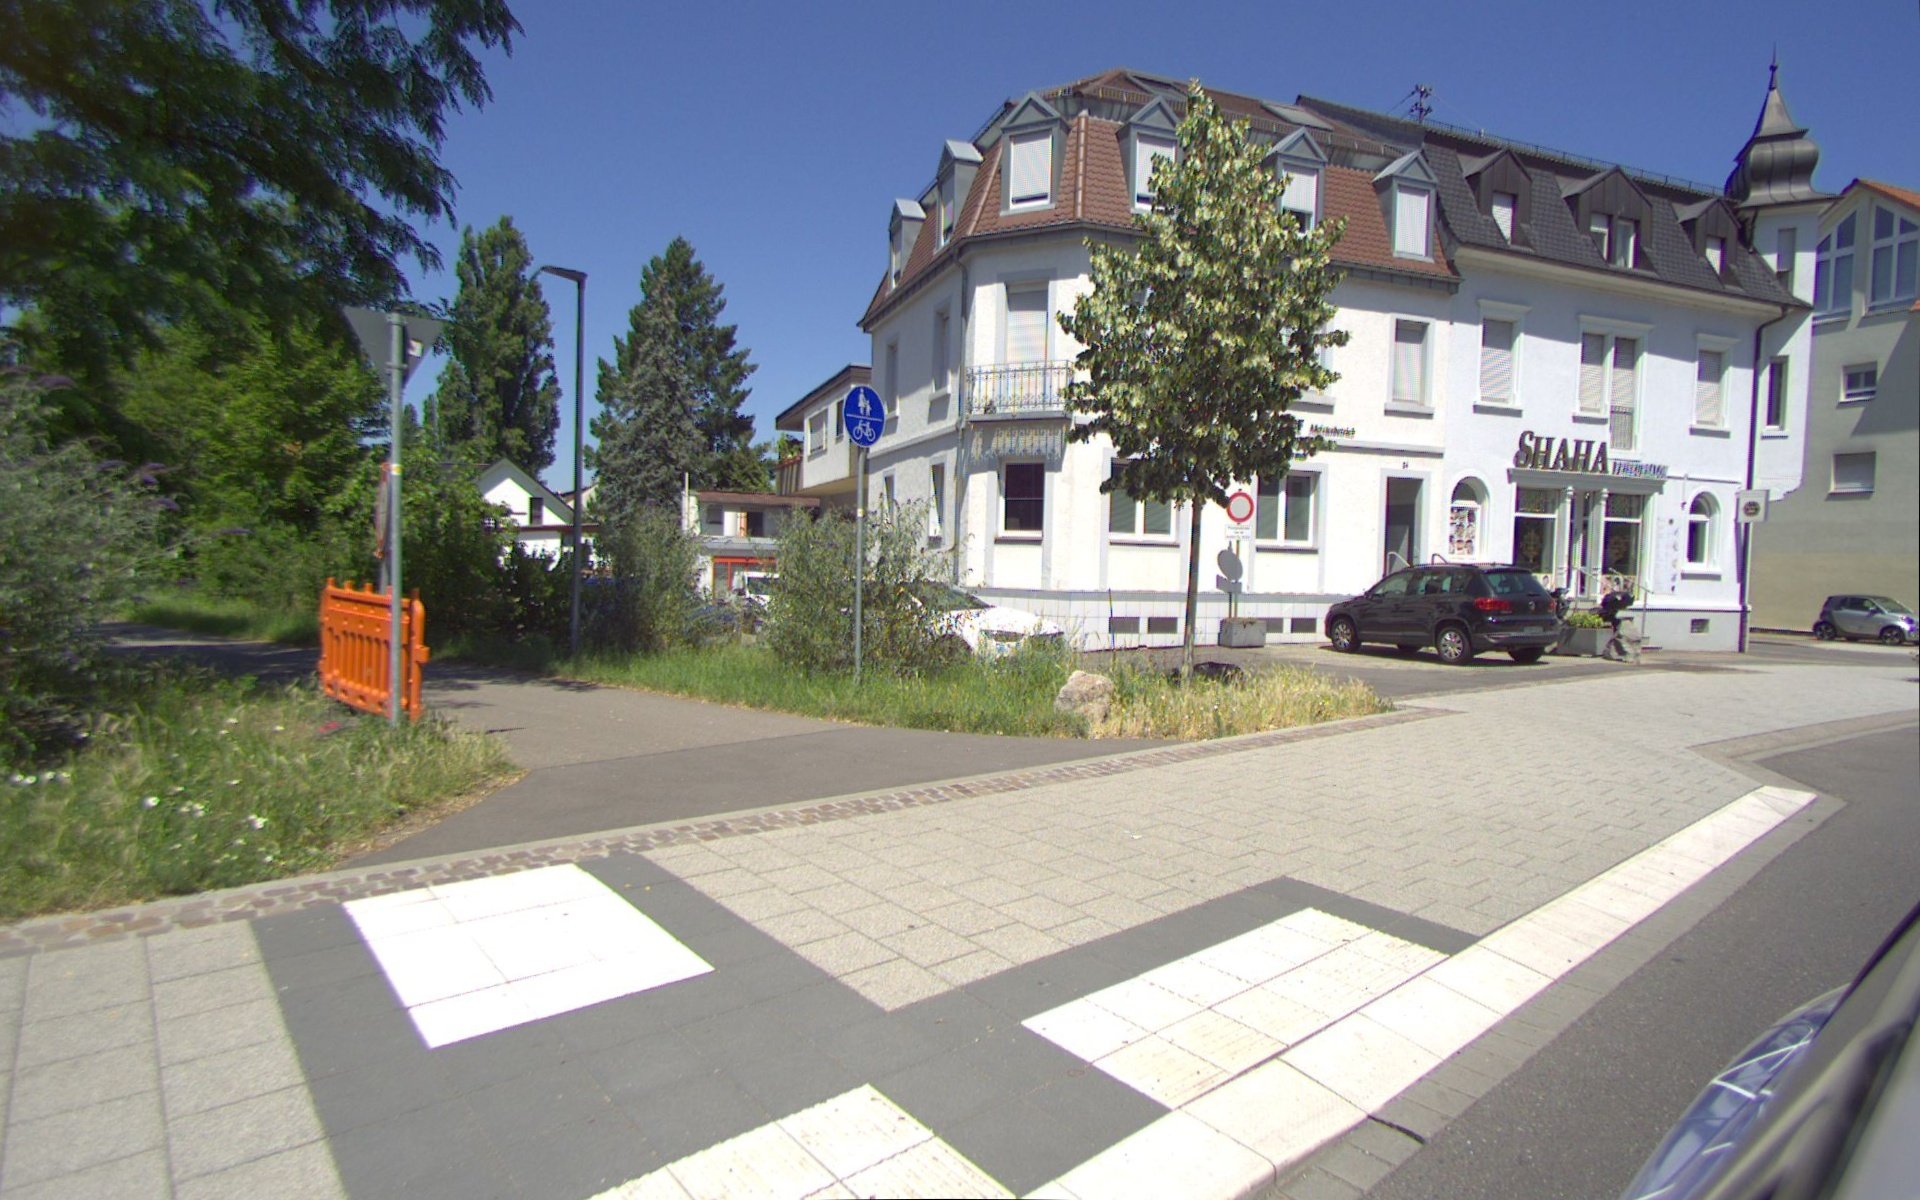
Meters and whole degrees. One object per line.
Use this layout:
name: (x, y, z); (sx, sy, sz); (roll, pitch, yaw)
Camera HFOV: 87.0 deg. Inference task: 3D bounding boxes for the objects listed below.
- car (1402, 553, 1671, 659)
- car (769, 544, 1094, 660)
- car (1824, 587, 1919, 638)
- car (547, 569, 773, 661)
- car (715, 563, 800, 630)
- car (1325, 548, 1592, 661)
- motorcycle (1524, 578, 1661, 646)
car: (10.455, 0.045, 18.729); (1.817, 1.737, 4.098); (1, 1, -20)
car: (-0.457, 0.011, 13.914); (4.175, 1.367, 1.837); (2, -2, 35)
car: (29.653, 0.378, 32.309); (1.498, 1.489, 2.743); (0, 2, -19)
car: (-5.434, 0.180, 18.124); (4.182, 1.366, 1.835); (2, 4, 39)
car: (-7.204, -0.182, 35.570); (1.958, 2.156, 5.107); (1, 2, -22)
car: (8.598, 0.016, 17.898); (1.817, 1.737, 4.098); (1, 1, -20)
motorcycle: (13.222, 0.228, 21.263); (0.838, 1.291, 2.390); (1, 2, -19)
